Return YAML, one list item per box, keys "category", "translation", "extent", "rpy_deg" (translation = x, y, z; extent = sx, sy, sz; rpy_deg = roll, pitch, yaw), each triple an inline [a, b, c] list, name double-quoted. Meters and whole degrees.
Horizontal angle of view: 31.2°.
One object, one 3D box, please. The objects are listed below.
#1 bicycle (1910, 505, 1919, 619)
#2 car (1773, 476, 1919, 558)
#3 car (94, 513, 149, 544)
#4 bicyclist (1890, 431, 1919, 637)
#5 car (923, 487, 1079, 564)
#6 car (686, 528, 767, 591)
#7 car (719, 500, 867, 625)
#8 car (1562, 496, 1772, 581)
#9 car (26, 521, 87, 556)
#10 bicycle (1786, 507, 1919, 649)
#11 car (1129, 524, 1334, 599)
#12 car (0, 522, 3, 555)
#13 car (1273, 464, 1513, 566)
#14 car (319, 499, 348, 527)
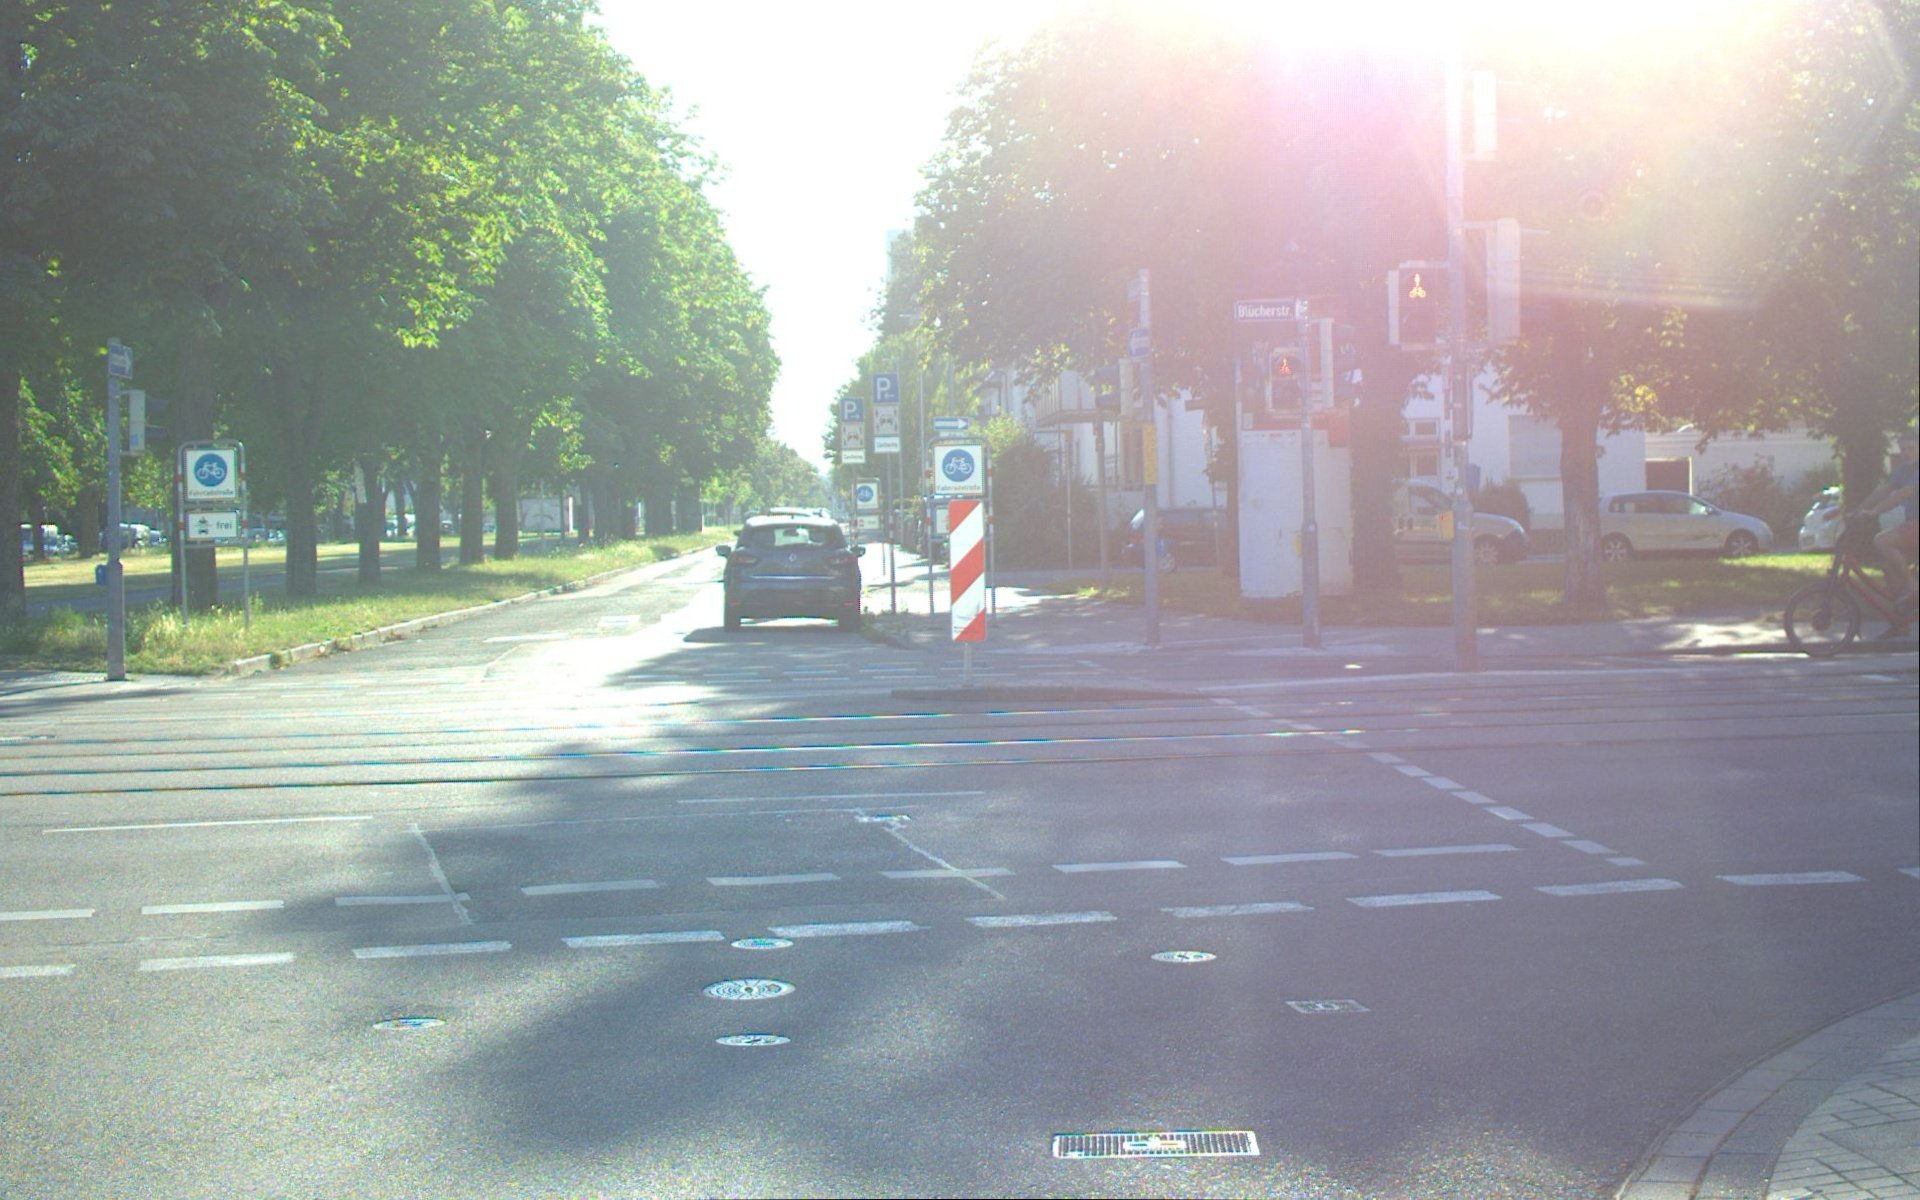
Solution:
- category: "bicycle"
  translation: [9.905, -0.382, 32.872]
  extent: [1.522, 1.085, 0.467]
  rpy_deg: [-1, 1, 8]
- category: "car"
  translation: [17.761, -1.595, 65.960]
  extent: [3.920, 1.518, 1.524]
  rpy_deg: [0, 0, -7]
- category: "car"
  translation: [-45.631, -3.910, 187.131]
  extent: [1.993, 1.653, 4.571]
  rpy_deg: [-1, 2, -3]
- category: "bicyclist"
  translation: [8.532, -0.572, 29.111]
  extent: [1.145, 1.717, 0.874]
  rpy_deg: [-2, 1, 10]
- category: "car"
  translation: [1.099, -2.028, 93.571]
  extent: [3.986, 1.816, 1.760]
  rpy_deg: [-2, -4, -6]
- category: "car"
  translation: [-5.295, -0.919, 78.274]
  extent: [1.709, 1.355, 4.203]
  rpy_deg: [1, 1, -2]
- category: "car"
  translation: [-2.121, -0.485, 44.617]
  extent: [1.725, 1.506, 4.541]
  rpy_deg: [1, 1, -1]
- category: "car"
  translation: [13.419, -1.171, 65.340]
  extent: [3.552, 1.510, 1.606]
  rpy_deg: [-1, 1, -8]
- category: "car"
  translation: [-44.004, -2.993, 167.542]
  extent: [2.022, 1.653, 3.984]
  rpy_deg: [1, 1, -2]
- category: "bicycle"
  translation: [8.617, -0.219, 29.108]
  extent: [3.075, 1.157, 0.874]
  rpy_deg: [-2, 1, 10]
- category: "car"
  translation: [5.556, -0.791, 70.558]
  extent: [3.986, 1.442, 1.716]
  rpy_deg: [-1, 1, -2]
- category: "car"
  translation: [-49.668, -3.110, 172.673]
  extent: [1.993, 1.653, 4.355]
  rpy_deg: [1, 1, -1]
- category: "car"
  translation: [8.228, -1.602, 65.535]
  extent: [4.241, 1.868, 2.031]
  rpy_deg: [-1, 1, -2]
- category: "car"
  translation: [-46.293, -6.391, 253.935]
  extent: [1.654, 1.932, 3.568]
  rpy_deg: [1, -1, -3]
